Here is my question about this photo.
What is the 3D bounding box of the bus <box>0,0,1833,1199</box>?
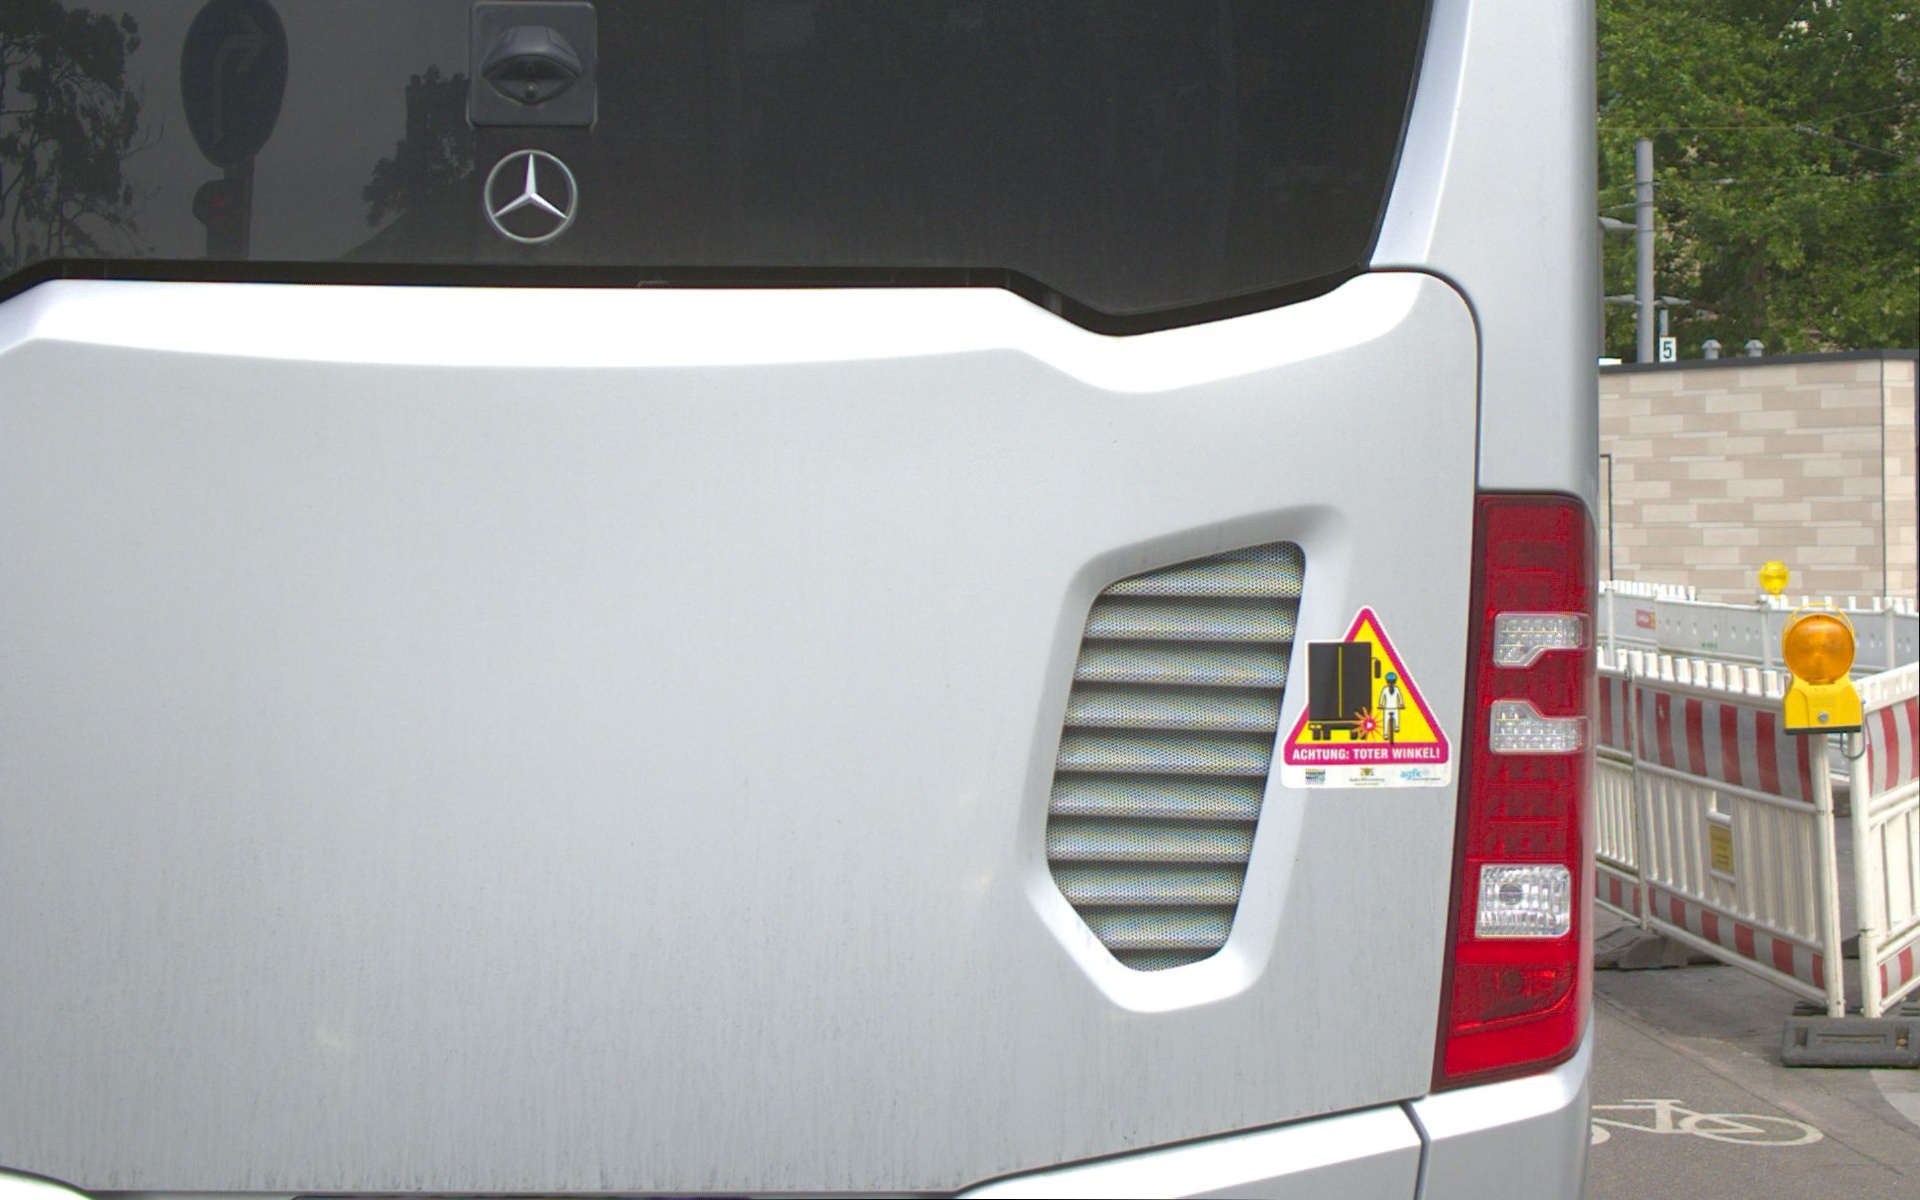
[{"bbox_3d":[-0.380,-0.497,10.578,2.704,3.426,14.184,0,1,1],"label":"bus"}]
